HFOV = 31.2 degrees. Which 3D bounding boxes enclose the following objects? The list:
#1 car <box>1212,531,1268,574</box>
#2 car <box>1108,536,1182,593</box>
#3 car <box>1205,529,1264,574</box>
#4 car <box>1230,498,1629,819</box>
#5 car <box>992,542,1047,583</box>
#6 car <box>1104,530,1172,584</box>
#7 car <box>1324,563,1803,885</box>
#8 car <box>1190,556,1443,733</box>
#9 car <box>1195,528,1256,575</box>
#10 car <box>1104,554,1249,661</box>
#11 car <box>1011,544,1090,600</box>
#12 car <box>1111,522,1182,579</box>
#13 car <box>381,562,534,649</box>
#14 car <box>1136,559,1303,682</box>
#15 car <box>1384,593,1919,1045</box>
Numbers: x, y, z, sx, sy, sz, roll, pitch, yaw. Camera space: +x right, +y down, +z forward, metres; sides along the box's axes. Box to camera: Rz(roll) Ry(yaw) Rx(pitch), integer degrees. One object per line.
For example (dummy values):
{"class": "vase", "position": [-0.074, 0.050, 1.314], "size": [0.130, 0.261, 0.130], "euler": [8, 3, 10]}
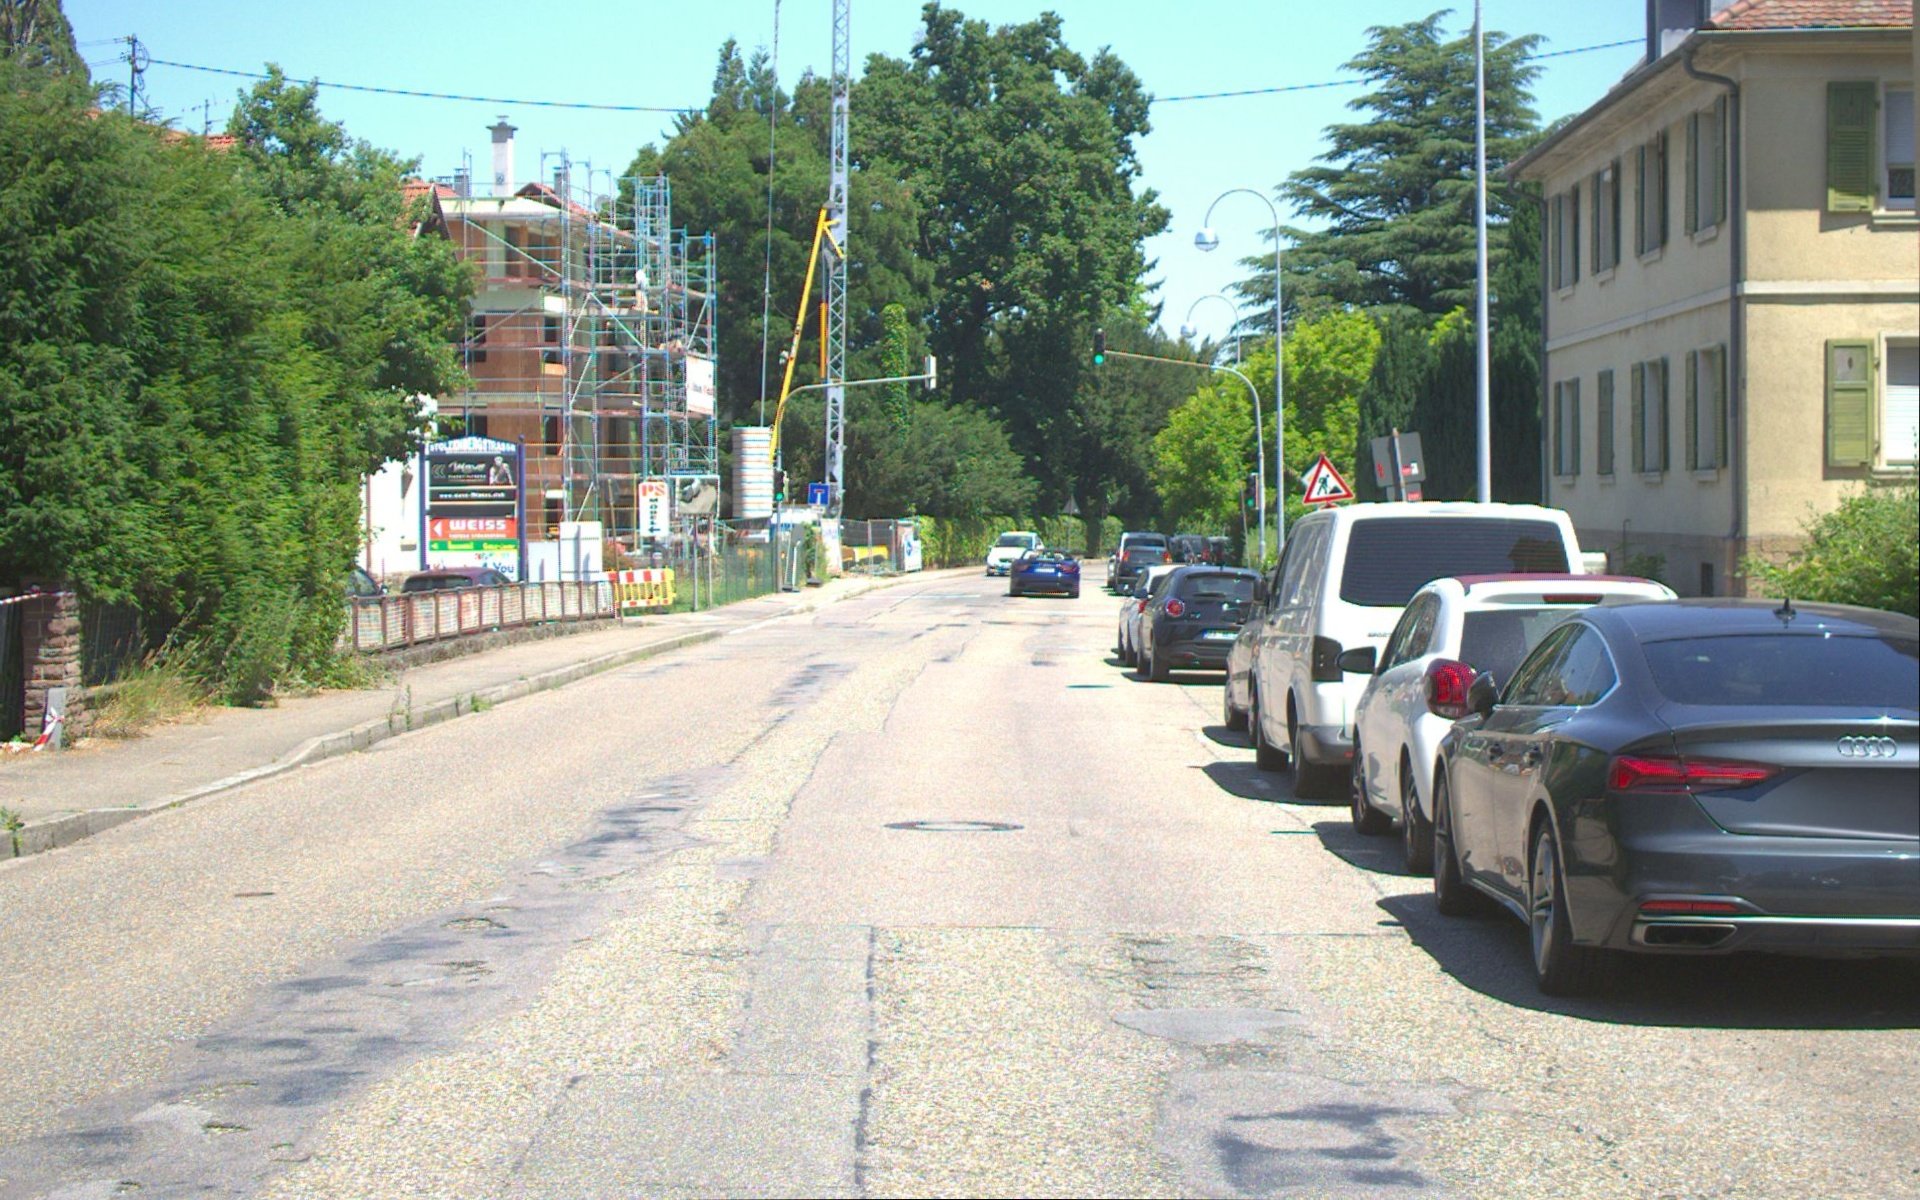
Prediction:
{"class": "car", "position": [11.035, -1.884, 135.377], "size": [1.994, 1.656, 3.999], "euler": [-1, 1, 7]}
{"class": "car", "position": [5.302, -1.009, 98.013], "size": [1.994, 1.568, 3.999], "euler": [-1, 1, 5]}
{"class": "car", "position": [10.416, -1.829, 130.166], "size": [1.994, 1.656, 3.999], "euler": [-1, 1, 7]}
{"class": "car", "position": [3.065, 0.327, 23.473], "size": [1.993, 1.894, 4.823], "euler": [2, 1, 0]}
{"class": "car", "position": [2.181, -1.376, 125.162], "size": [1.761, 1.446, 3.839], "euler": [0, 1, 4]}
{"class": "car", "position": [5.604, -1.359, 108.006], "size": [1.994, 1.656, 3.999], "euler": [-1, 1, 5]}
{"class": "car", "position": [2.970, 0.552, 17.639], "size": [1.761, 1.446, 3.649], "euler": [0, 1, -1]}
{"class": "car", "position": [3.118, 0.345, 30.793], "size": [1.761, 1.446, 4.223], "euler": [0, 1, -1]}
{"class": "car", "position": [9.695, -1.767, 125.250], "size": [1.994, 1.656, 3.999], "euler": [-1, 1, 7]}
{"class": "car", "position": [3.049, 0.074, 49.127], "size": [1.761, 1.446, 3.890], "euler": [0, 1, -1]}
{"class": "car", "position": [2.500, -0.783, 94.272], "size": [1.958, 1.463, 4.000], "euler": [-1, 1, 4]}
{"class": "car", "position": [5.592, -1.480, 102.566], "size": [1.994, 1.656, 3.999], "euler": [-1, 1, 5]}
{"class": "car", "position": [-8.297, 0.069, 57.028], "size": [1.660, 1.384, 3.534], "euler": [-1, 1, 6]}
{"class": "car", "position": [3.234, 0.224, 43.455], "size": [1.761, 1.446, 3.840], "euler": [0, 1, -1]}
{"class": "car", "position": [2.840, 0.699, 13.301], "size": [1.761, 1.366, 4.607], "euler": [0, 1, -1]}
